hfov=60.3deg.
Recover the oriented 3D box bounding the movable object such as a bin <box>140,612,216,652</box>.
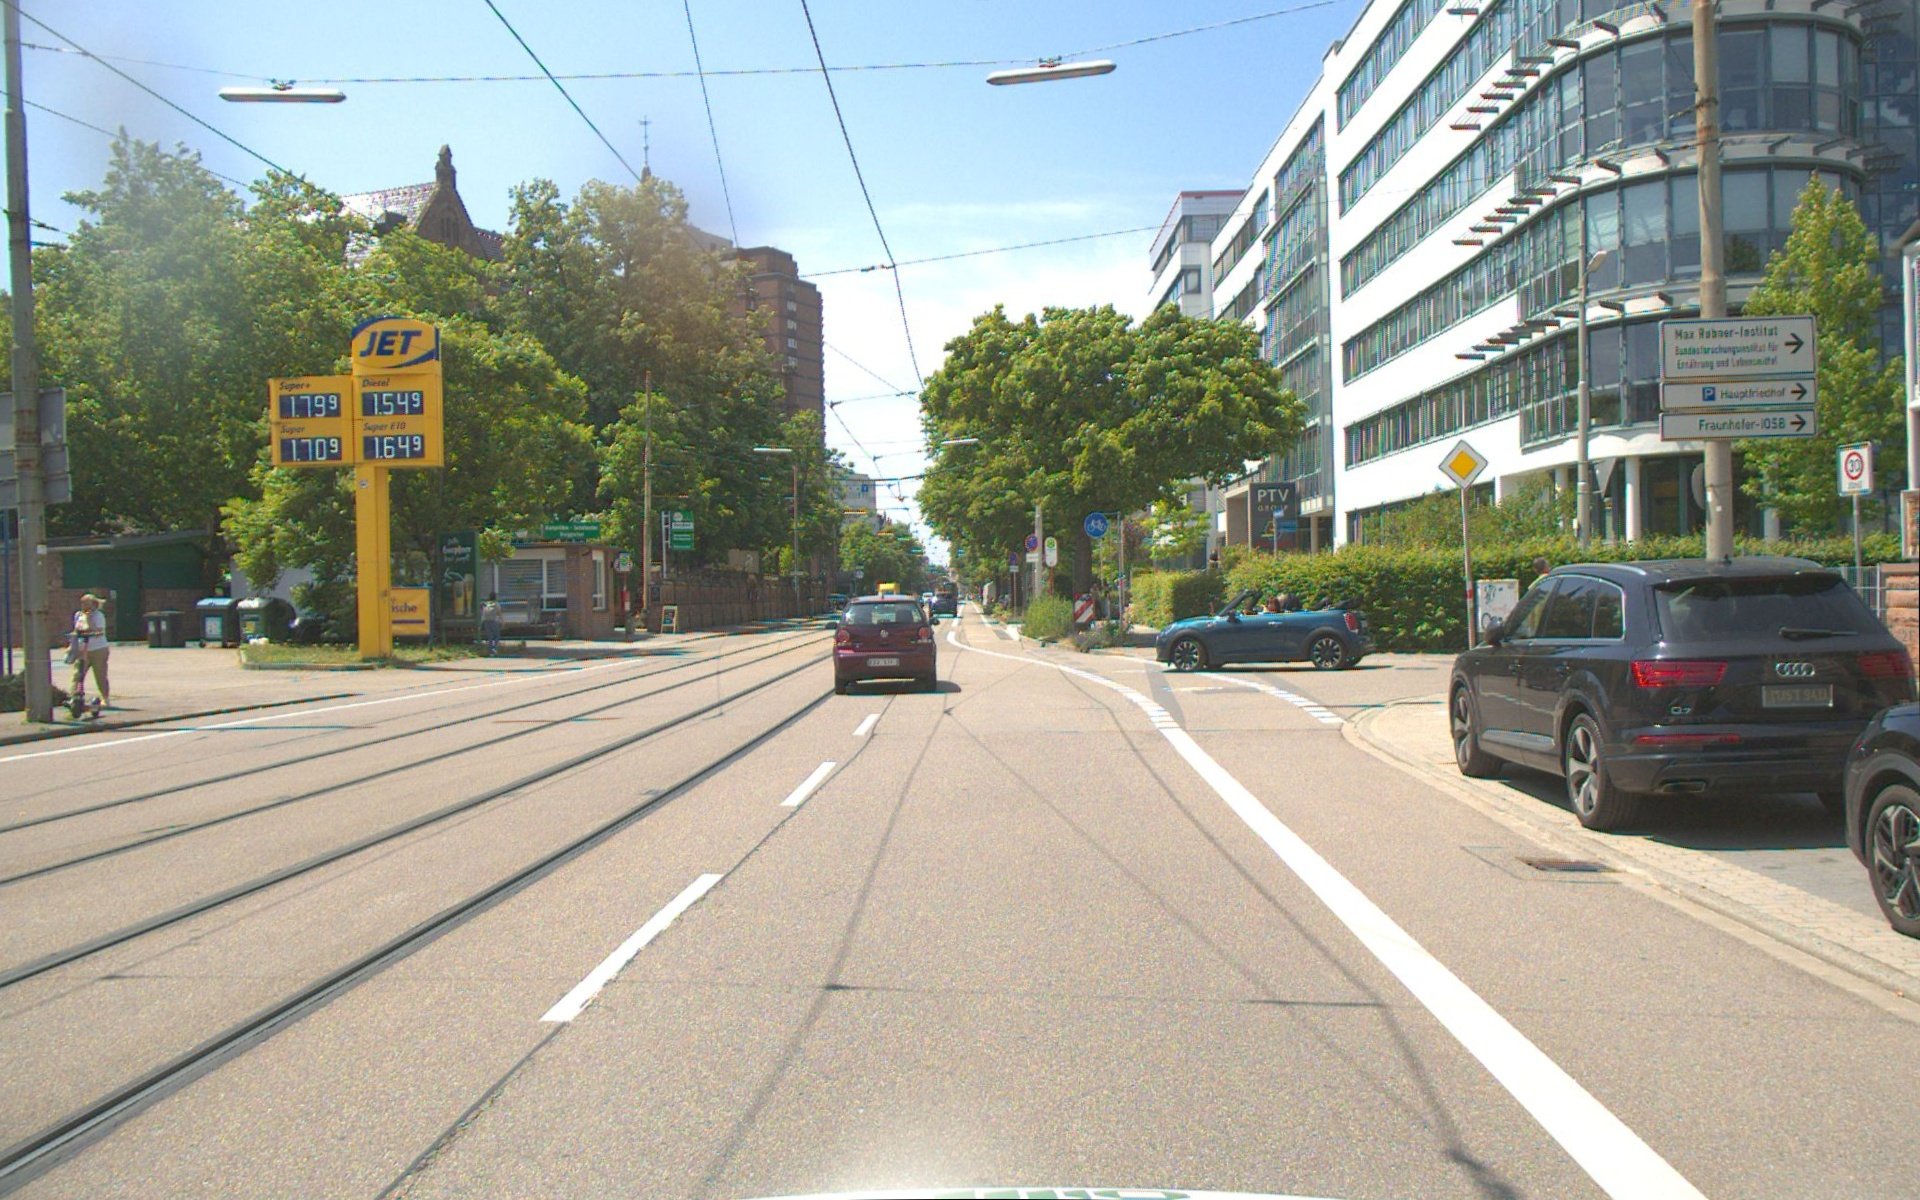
[{"bbox_3d":[-23.648,0.964,50.040,1.376,1.157,1.563,0,0,24],"label":"movable object such as a bin"}]

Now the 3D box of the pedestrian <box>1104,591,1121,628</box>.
[{"bbox_3d":[7.415,0.457,80.550,0.531,1.745,0.560,-2,-1,-29],"label":"pedestrian"}]

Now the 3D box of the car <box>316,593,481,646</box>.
[{"bbox_3d":[-16.921,0.546,50.015,1.899,1.514,4.428,0,0,40],"label":"car"}]

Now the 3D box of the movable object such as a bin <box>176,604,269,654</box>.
[{"bbox_3d":[-22.071,0.848,49.517,1.490,1.457,2.098,0,0,24],"label":"movable object such as a bin"}]

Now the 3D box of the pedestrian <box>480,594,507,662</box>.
[{"bbox_3d":[-12.582,0.743,44.614,0.568,1.806,0.699,0,0,-3],"label":"pedestrian"}]

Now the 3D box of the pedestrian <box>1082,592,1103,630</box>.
[{"bbox_3d":[6.442,0.543,80.232,0.671,1.828,0.667,-3,0,-31],"label":"pedestrian"}]

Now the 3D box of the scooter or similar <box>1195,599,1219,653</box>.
[{"bbox_3d":[5.824,0.608,38.990,0.319,1.244,1.152,0,0,21],"label":"scooter or similar"}]

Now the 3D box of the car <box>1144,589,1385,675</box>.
[{"bbox_3d":[5.339,0.559,29.023,3.836,1.396,1.702,-2,0,25],"label":"car"}]

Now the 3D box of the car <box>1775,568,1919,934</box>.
[{"bbox_3d":[4.985,0.609,6.083,1.736,1.575,4.468,-3,0,1],"label":"car"}]

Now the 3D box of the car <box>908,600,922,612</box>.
[{"bbox_3d":[-5.892,0.760,216.887,1.734,1.542,4.000,-1,0,0],"label":"car"}]

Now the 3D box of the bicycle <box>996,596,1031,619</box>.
[{"bbox_3d":[2.905,0.415,90.539,1.845,1.203,0.694,-2,0,0],"label":"bicycle"}]

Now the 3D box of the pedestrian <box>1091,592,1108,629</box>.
[{"bbox_3d":[6.714,0.530,79.618,0.531,1.745,0.560,-2,-1,-29],"label":"pedestrian"}]

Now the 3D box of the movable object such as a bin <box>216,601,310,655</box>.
[{"bbox_3d":[-20.567,0.793,48.843,1.490,1.536,2.098,0,0,24],"label":"movable object such as a bin"}]

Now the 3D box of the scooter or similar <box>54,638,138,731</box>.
[{"bbox_3d":[-12.159,1.173,23.309,0.508,1.221,1.376,0,0,-2],"label":"scooter or similar"}]

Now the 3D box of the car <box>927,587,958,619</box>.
[{"bbox_3d":[-1.172,0.181,109.552,1.953,2.049,3.999,0,0,-2],"label":"car"}]

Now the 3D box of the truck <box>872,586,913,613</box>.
[{"bbox_3d":[-7.387,-0.071,181.662,2.319,2.835,7.325,-1,0,15],"label":"truck"}]

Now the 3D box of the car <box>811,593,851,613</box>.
[{"bbox_3d":[-13.694,0.337,175.859,3.903,2.049,2.001,-1,0,4],"label":"car"}]

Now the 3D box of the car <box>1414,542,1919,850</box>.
[{"bbox_3d":[4.990,0.549,12.281,1.884,1.722,5.083,-3,0,2],"label":"car"}]

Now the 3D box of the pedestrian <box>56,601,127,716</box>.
[{"bbox_3d":[-13.235,0.880,25.207,0.611,1.720,0.723,-1,0,10],"label":"pedestrian"}]

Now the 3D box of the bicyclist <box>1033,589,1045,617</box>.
[{"bbox_3d":[5.293,0.193,110.756,0.682,1.831,0.888,-3,-1,3],"label":"bicyclist"}]

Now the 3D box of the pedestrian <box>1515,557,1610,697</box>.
[{"bbox_3d":[7.533,0.322,20.683,0.825,1.696,0.730,-1,0,-20],"label":"pedestrian"}]

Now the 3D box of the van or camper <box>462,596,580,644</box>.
[{"bbox_3d":[-15.656,0.705,59.174,3.706,1.657,1.871,0,1,0],"label":"van or camper"}]

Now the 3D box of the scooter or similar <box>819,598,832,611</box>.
[{"bbox_3d":[-11.879,0.379,146.295,1.073,1.175,0.524,0,0,-21],"label":"scooter or similar"}]

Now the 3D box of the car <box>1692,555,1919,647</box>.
[{"bbox_3d":[15.266,-0.001,28.983,4.061,1.485,1.819,-2,0,4],"label":"car"}]

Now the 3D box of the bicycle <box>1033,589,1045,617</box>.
[{"bbox_3d":[5.285,0.211,110.824,0.675,1.816,1.811,-3,-1,3],"label":"bicycle"}]

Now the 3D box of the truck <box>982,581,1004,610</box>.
[{"bbox_3d":[3.028,-0.424,152.632,1.953,2.708,4.875,0,0,0],"label":"truck"}]

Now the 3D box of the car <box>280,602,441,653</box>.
[{"bbox_3d":[-18.741,0.826,51.828,1.899,1.514,4.429,0,0,39],"label":"car"}]

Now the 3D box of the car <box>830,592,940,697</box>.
[{"bbox_3d":[-1.137,0.654,26.610,1.586,1.512,4.000,-1,0,-1],"label":"car"}]

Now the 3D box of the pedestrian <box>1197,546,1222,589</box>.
[{"bbox_3d":[10.397,-1.347,68.911,0.855,1.745,1.090,-3,-1,12],"label":"pedestrian"}]
